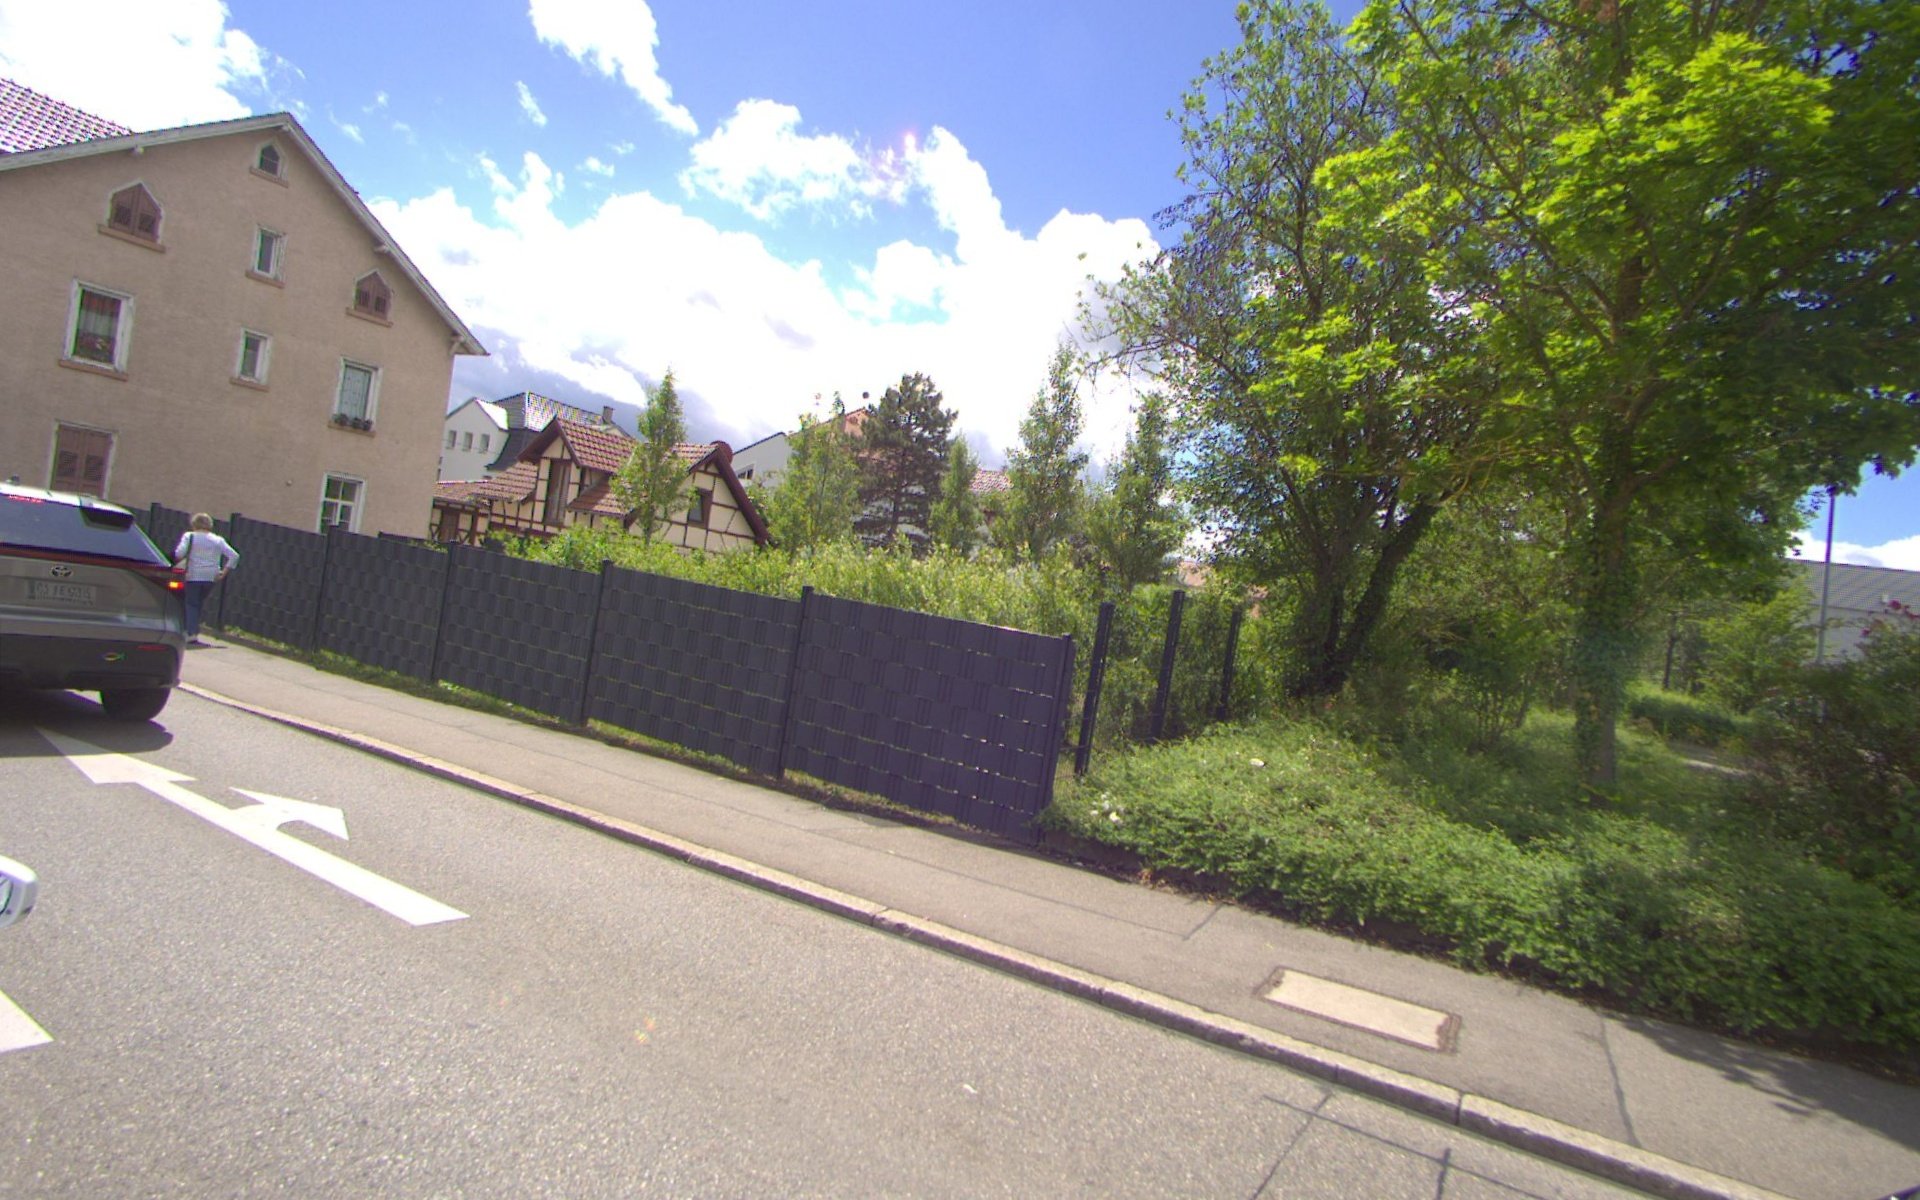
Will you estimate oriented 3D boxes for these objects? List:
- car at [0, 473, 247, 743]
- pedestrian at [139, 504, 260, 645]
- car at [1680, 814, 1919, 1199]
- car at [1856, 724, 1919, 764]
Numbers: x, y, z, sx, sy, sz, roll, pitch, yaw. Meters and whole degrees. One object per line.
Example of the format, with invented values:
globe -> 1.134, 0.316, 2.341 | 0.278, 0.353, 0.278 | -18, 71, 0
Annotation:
car -> -7.620, -0.157, 7.541 | 4.605, 1.631, 1.924 | 7, -2, 32
pedestrian -> -9.199, -0.290, 12.185 | 0.700, 1.581, 0.860 | 7, 0, 31
car -> 3.395, 1.345, 0.730 | 4.494, 1.288, 1.776 | 7, -2, 33
car -> 40.467, 6.224, 43.398 | 1.770, 1.425, 3.997 | 6, -2, 30
